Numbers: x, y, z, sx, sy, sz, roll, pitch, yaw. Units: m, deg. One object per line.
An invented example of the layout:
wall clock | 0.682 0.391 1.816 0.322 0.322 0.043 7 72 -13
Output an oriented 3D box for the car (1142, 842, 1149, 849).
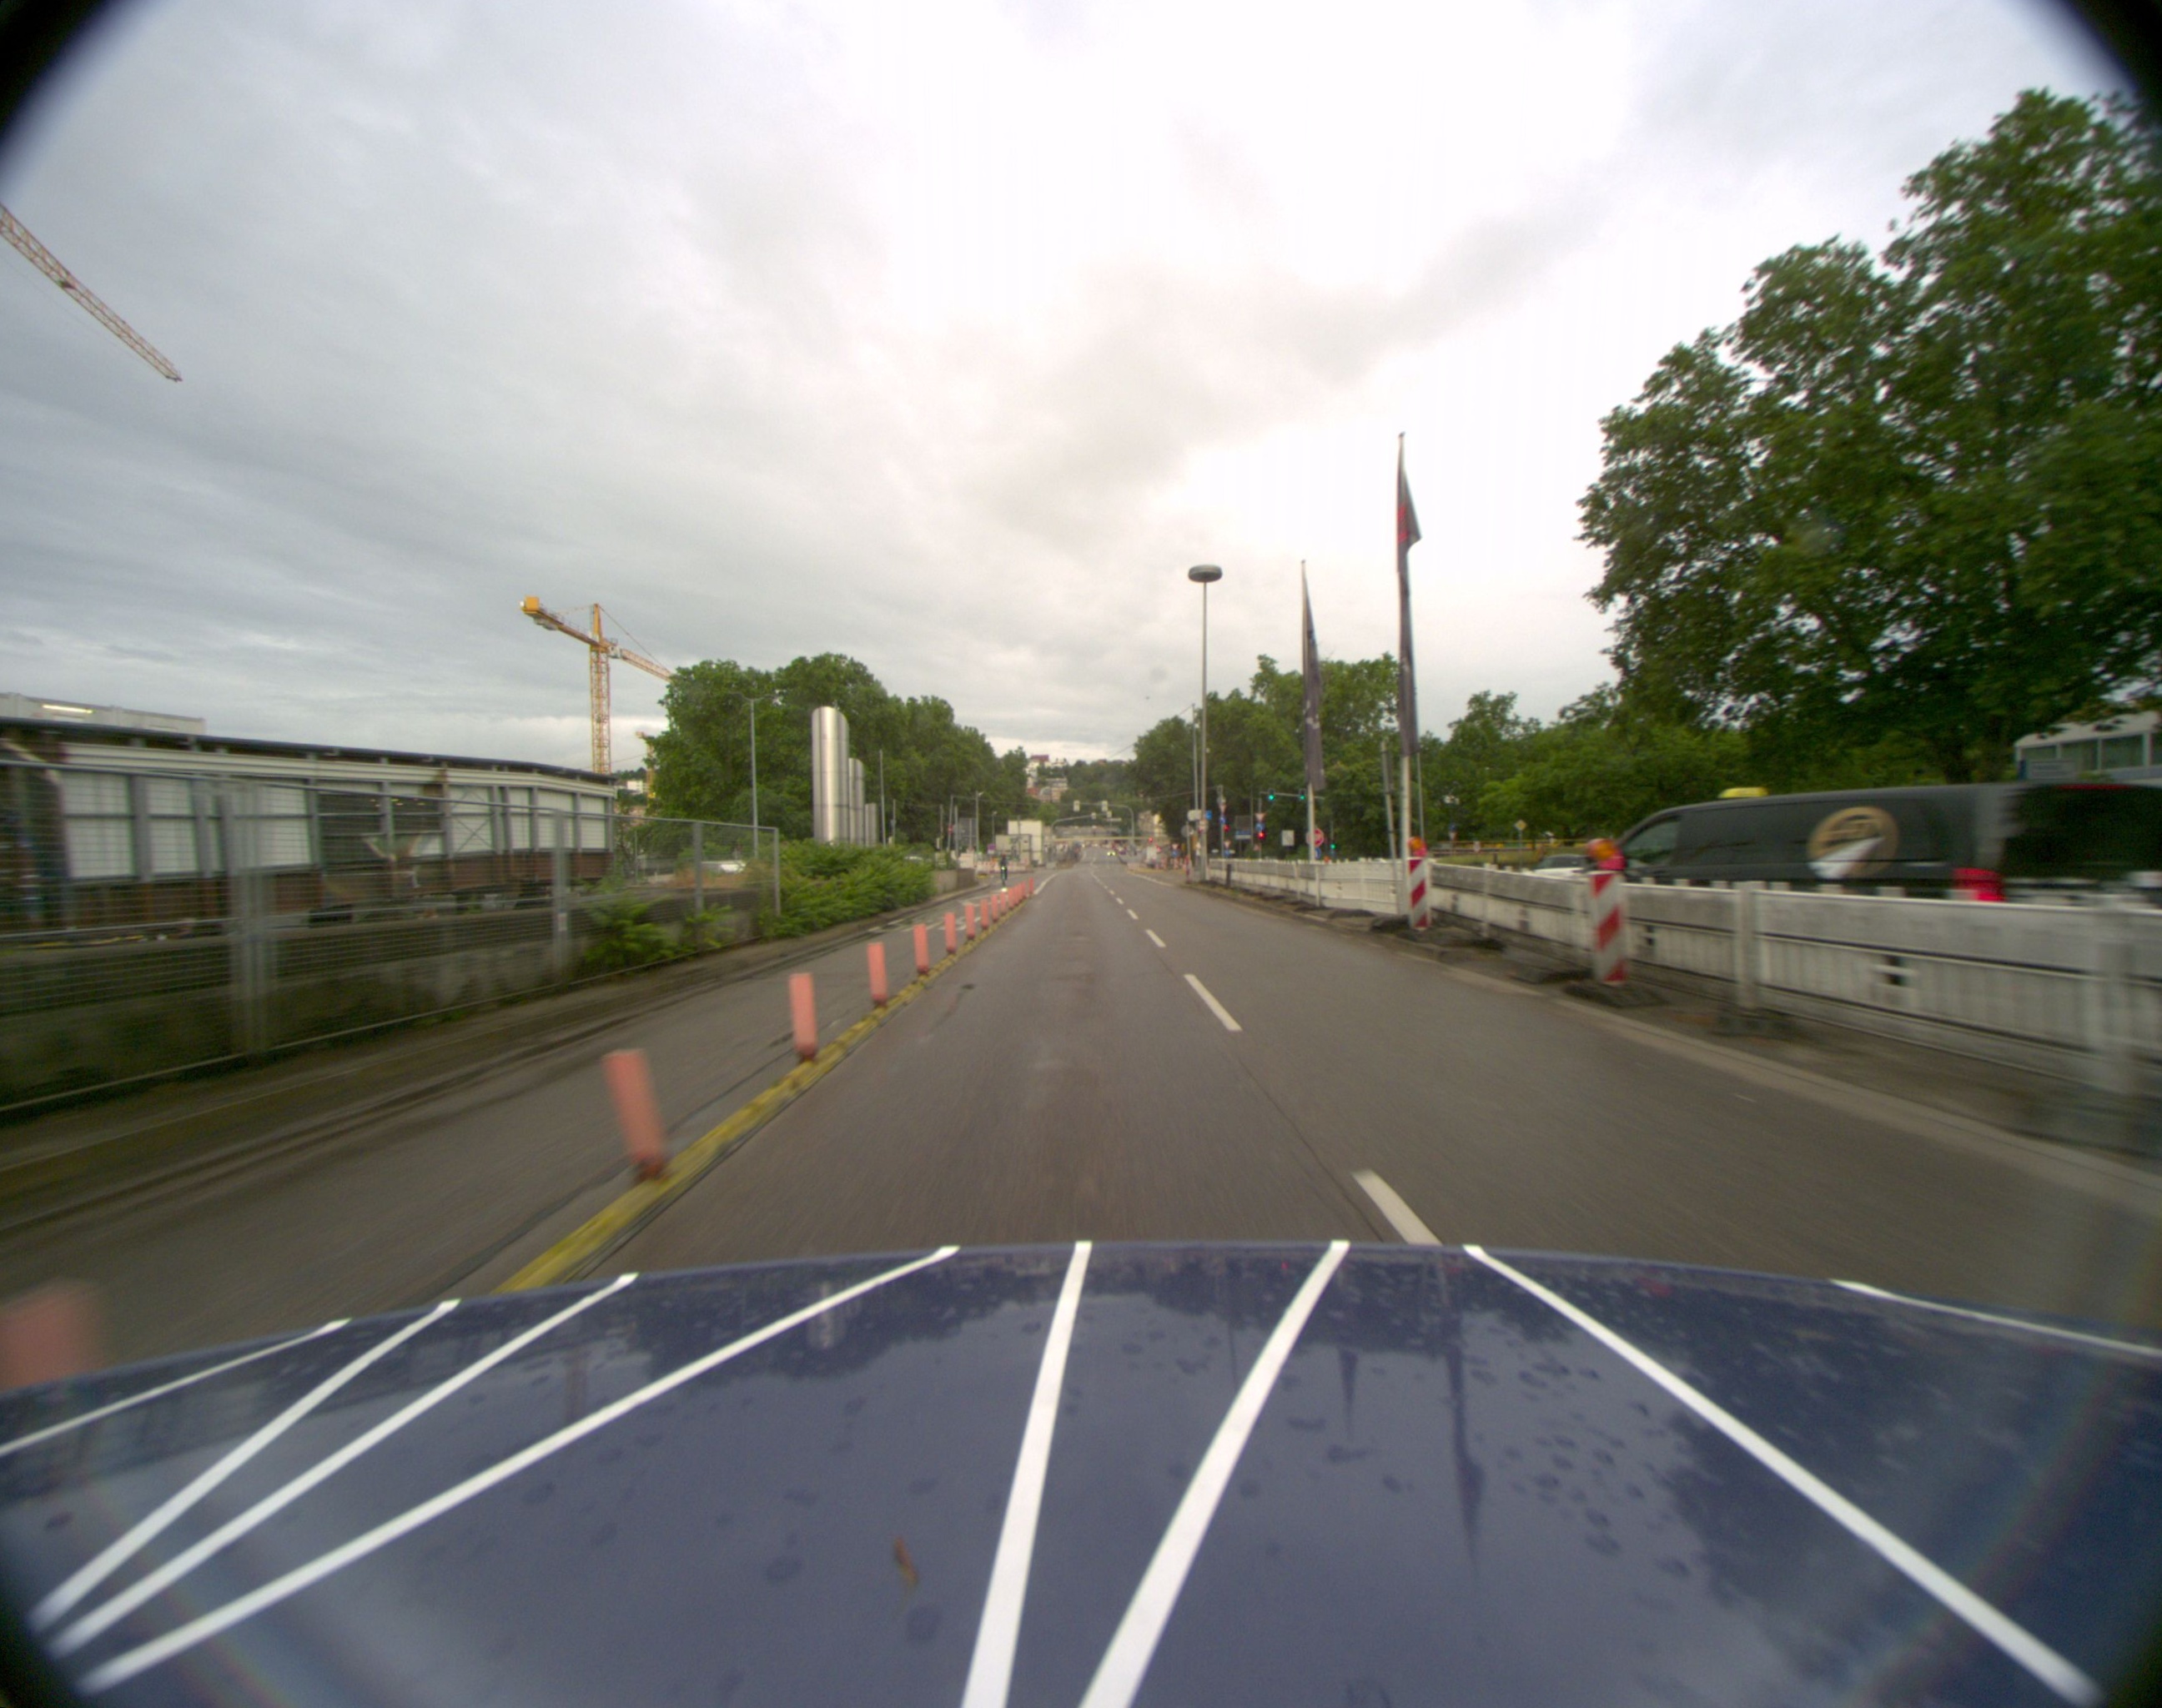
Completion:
car | 21.869 -2.939 258.736 1.998 2.001 4.001 -2 -1 1

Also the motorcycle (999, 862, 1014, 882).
motorcycle | -4.600 1.129 46.961 0.730 1.221 2.161 0 -1 0

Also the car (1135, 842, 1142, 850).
car | 17.524 -2.458 231.519 1.998 2.001 4.001 -2 -1 1

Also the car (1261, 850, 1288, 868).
car | 16.925 0.430 66.535 1.682 1.534 3.174 0 0 3

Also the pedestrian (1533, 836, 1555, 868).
pedestrian | 25.712 -0.081 42.229 0.558 1.714 0.951 -2 -2 -1

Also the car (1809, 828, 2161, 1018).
car | 10.658 0.616 8.060 1.894 1.692 4.303 -1 -1 4

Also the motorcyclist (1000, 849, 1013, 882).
motorcyclist | -4.598 0.712 46.994 0.726 2.024 0.587 0 -1 -1

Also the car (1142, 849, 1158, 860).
car | 11.215 0.081 123.776 1.664 1.533 4.156 -1 -2 -10

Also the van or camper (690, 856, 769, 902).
van or camper | -19.589 1.358 42.193 2.391 2.387 6.047 1 -1 -41

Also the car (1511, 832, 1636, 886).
car | 17.282 0.195 26.926 1.894 1.692 4.303 -2 -1 5

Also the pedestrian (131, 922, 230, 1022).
pedestrian | -17.824 2.304 15.068 0.673 1.821 1.015 -2 1 0

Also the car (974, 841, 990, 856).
car | -14.654 -0.778 112.286 1.999 2.054 4.190 0 -1 -3

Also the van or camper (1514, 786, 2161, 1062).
van or camper | 6.988 0.484 7.734 1.950 1.809 5.391 1 0 -1

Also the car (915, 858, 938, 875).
car | -15.415 1.271 75.941 2.000 1.627 4.188 0 -1 -8

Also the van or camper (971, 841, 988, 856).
van or camper | -14.170 -0.731 105.945 2.123 2.016 5.011 0 -1 -5

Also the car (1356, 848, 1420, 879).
car | 17.916 0.563 44.585 1.998 1.622 4.820 -2 -1 4

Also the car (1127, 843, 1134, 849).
car | 17.089 -2.818 263.106 1.998 2.001 4.001 -2 -1 1
